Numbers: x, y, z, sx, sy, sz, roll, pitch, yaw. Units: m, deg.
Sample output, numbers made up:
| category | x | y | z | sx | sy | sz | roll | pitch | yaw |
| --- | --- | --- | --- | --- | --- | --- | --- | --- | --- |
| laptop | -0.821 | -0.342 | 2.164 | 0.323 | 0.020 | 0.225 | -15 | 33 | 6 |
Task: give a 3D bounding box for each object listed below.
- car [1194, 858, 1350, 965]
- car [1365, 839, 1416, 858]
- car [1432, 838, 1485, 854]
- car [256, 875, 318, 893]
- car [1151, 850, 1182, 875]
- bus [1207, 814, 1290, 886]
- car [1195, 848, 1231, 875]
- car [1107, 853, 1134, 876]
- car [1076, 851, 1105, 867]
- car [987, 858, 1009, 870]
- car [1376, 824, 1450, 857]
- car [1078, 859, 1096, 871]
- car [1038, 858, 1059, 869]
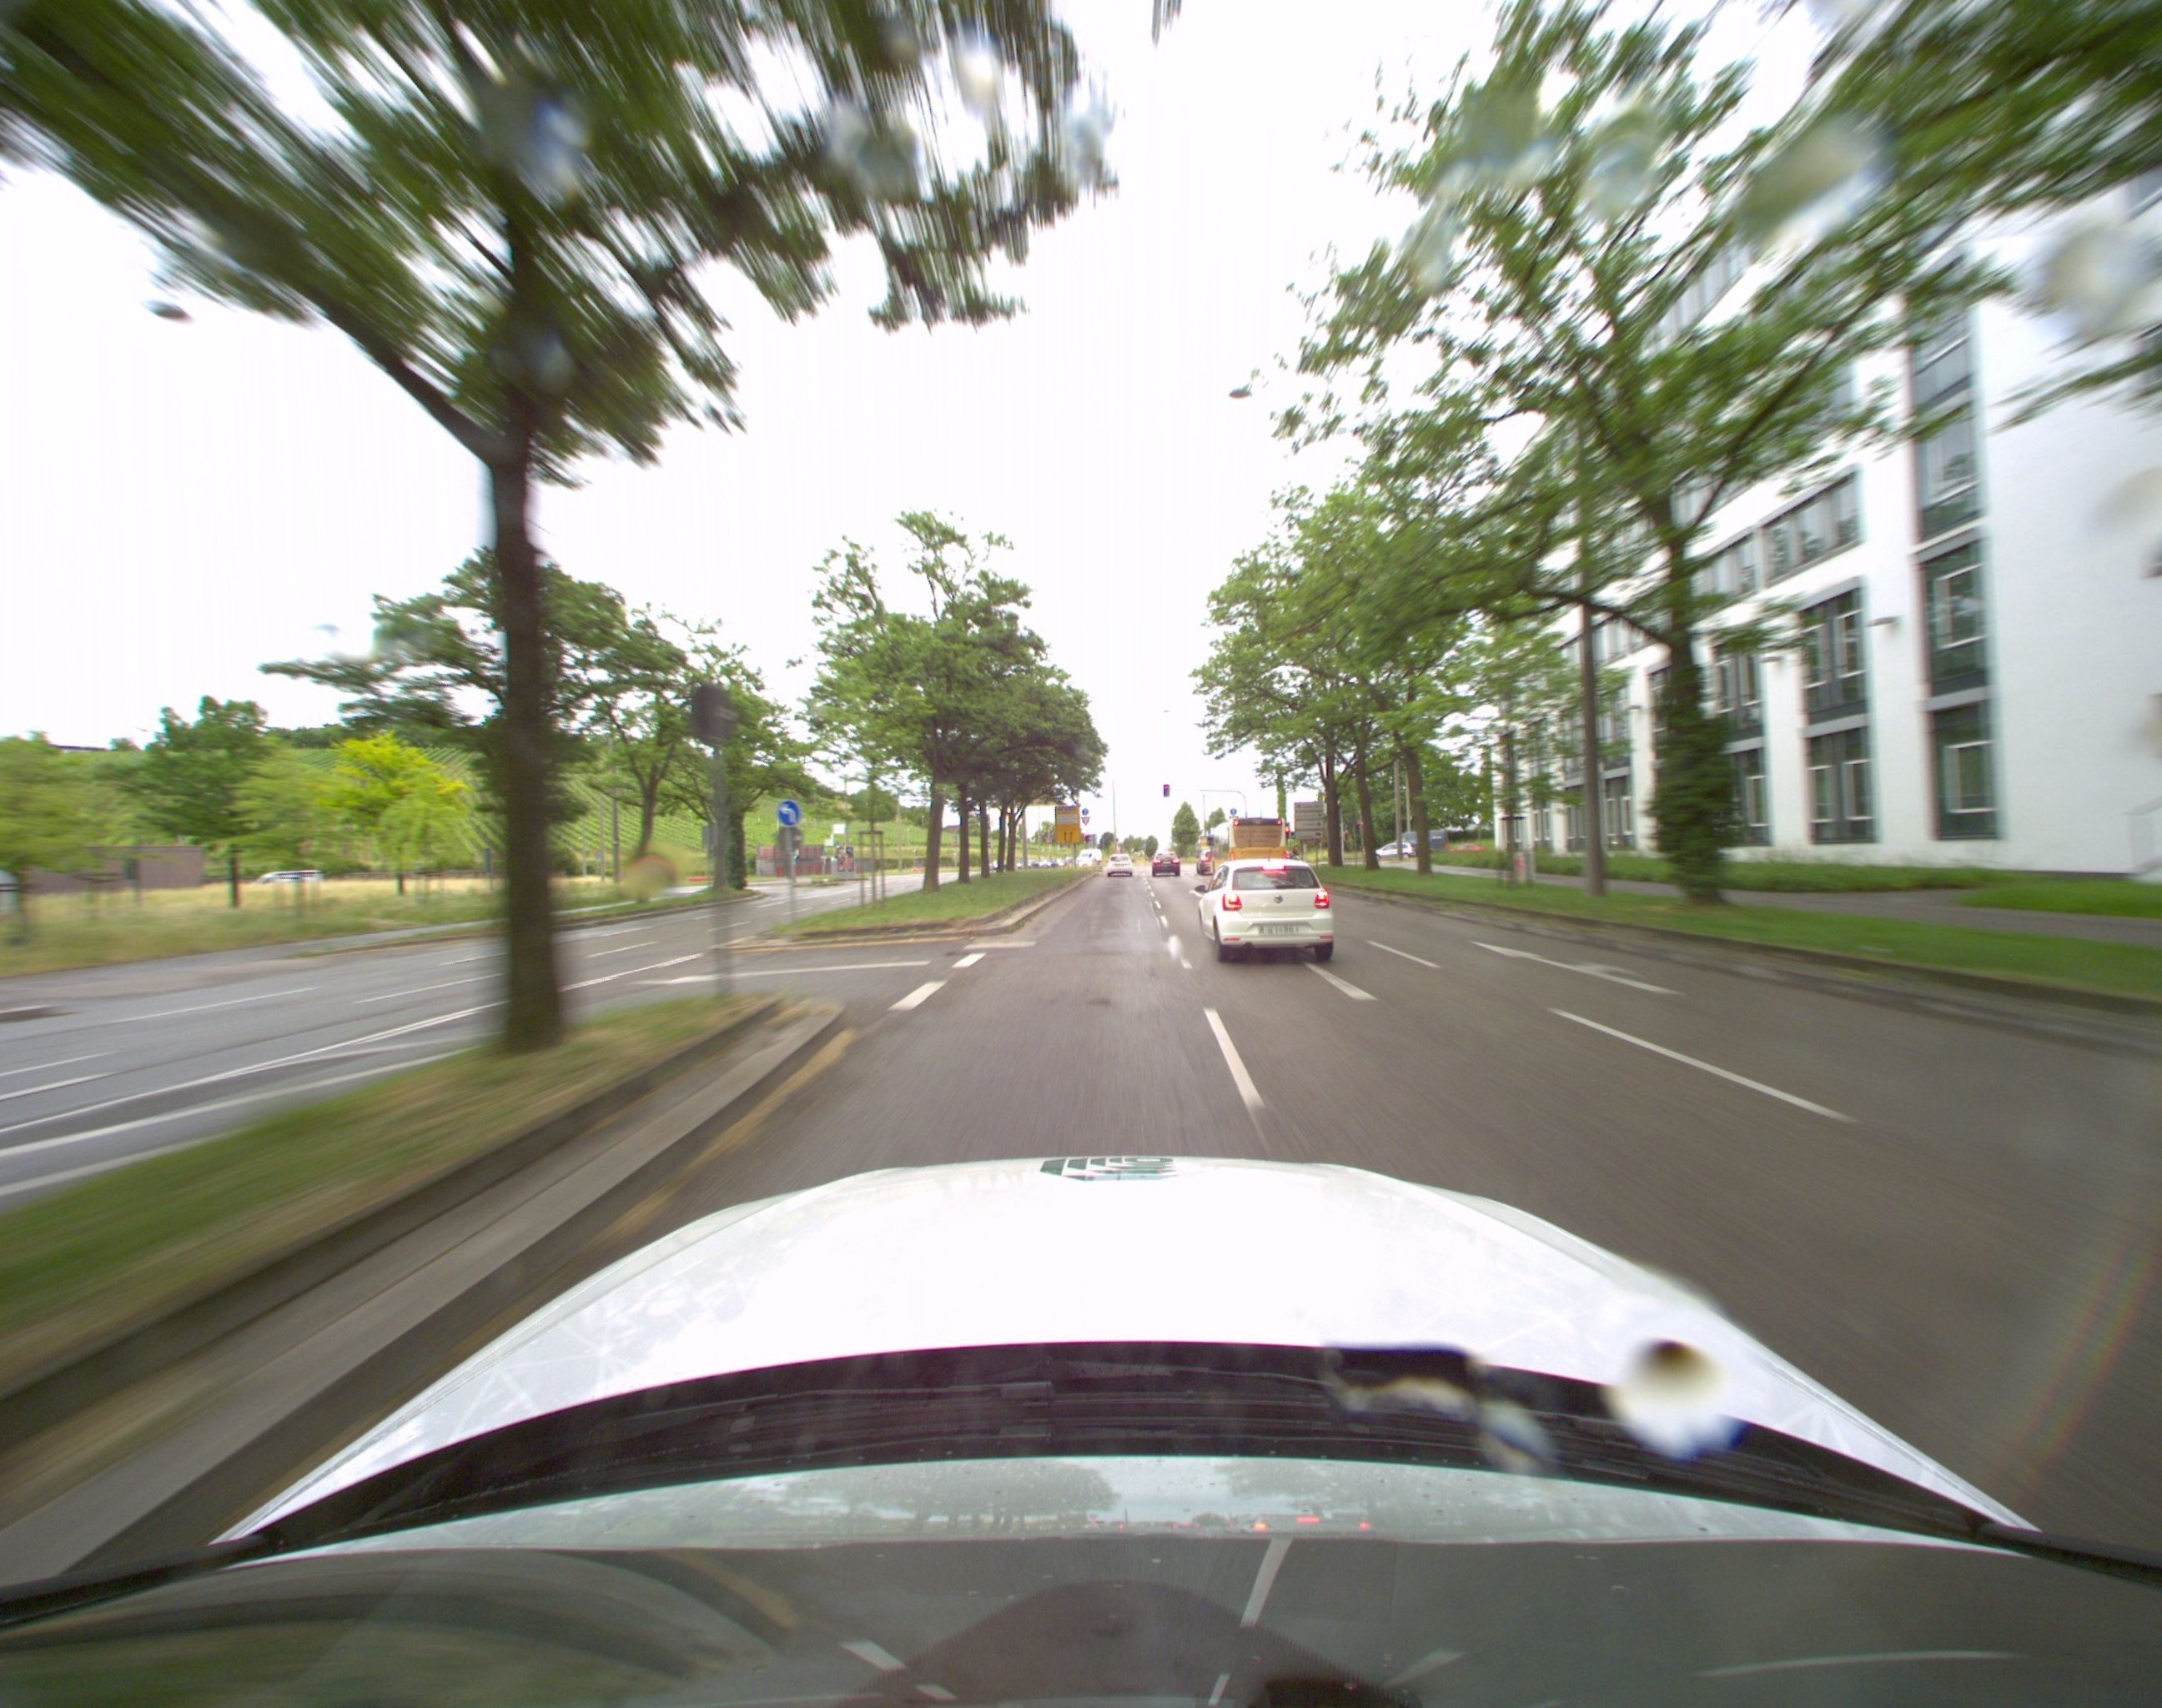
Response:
| category | x | y | z | sx | sy | sz | roll | pitch | yaw |
| --- | --- | --- | --- | --- | --- | --- | --- | --- | --- |
| car | 2.830 | 0.789 | 12.867 | 1.734 | 1.432 | 3.814 | 0 | -1 | 3 |
| car | 27.812 | -0.479 | 73.220 | 4.010 | 1.569 | 1.882 | -2 | -2 | 28 |
| car | 36.563 | -0.739 | 78.961 | 4.480 | 1.470 | 2.176 | -1 | -1 | 29 |
| car | -84.894 | 3.180 | 87.107 | 2.191 | 1.688 | 4.681 | -1 | -1 | 45 |
| car | 5.587 | 0.573 | 53.708 | 1.876 | 1.595 | 4.118 | 0 | -1 | 4 |
| bus | 8.344 | -0.221 | 42.001 | 2.714 | 3.152 | 12.161 | -1 | 1 | 5 |
| car | 8.764 | 0.464 | 54.448 | 1.857 | 1.674 | 4.569 | -1 | 1 | 3 |
| car | 2.713 | 0.726 | 55.520 | 1.710 | 1.489 | 4.004 | -2 | -1 | 4 |
| car | 1.620 | 0.775 | 133.737 | 1.974 | 2.559 | 6.207 | -1 | -1 | 29 |
| car | -11.277 | 1.317 | 111.127 | 1.818 | 1.623 | 4.579 | -1 | -1 | 10 |
| car | 30.457 | -1.184 | 74.784 | 5.952 | 2.741 | 2.094 | -2 | -2 | 31 |
| car | 0.850 | 1.475 | 110.600 | 1.765 | 1.425 | 4.385 | -3 | -1 | 10 |
| car | -4.415 | 1.310 | 110.116 | 1.773 | 1.395 | 3.897 | -1 | -1 | 14 |
